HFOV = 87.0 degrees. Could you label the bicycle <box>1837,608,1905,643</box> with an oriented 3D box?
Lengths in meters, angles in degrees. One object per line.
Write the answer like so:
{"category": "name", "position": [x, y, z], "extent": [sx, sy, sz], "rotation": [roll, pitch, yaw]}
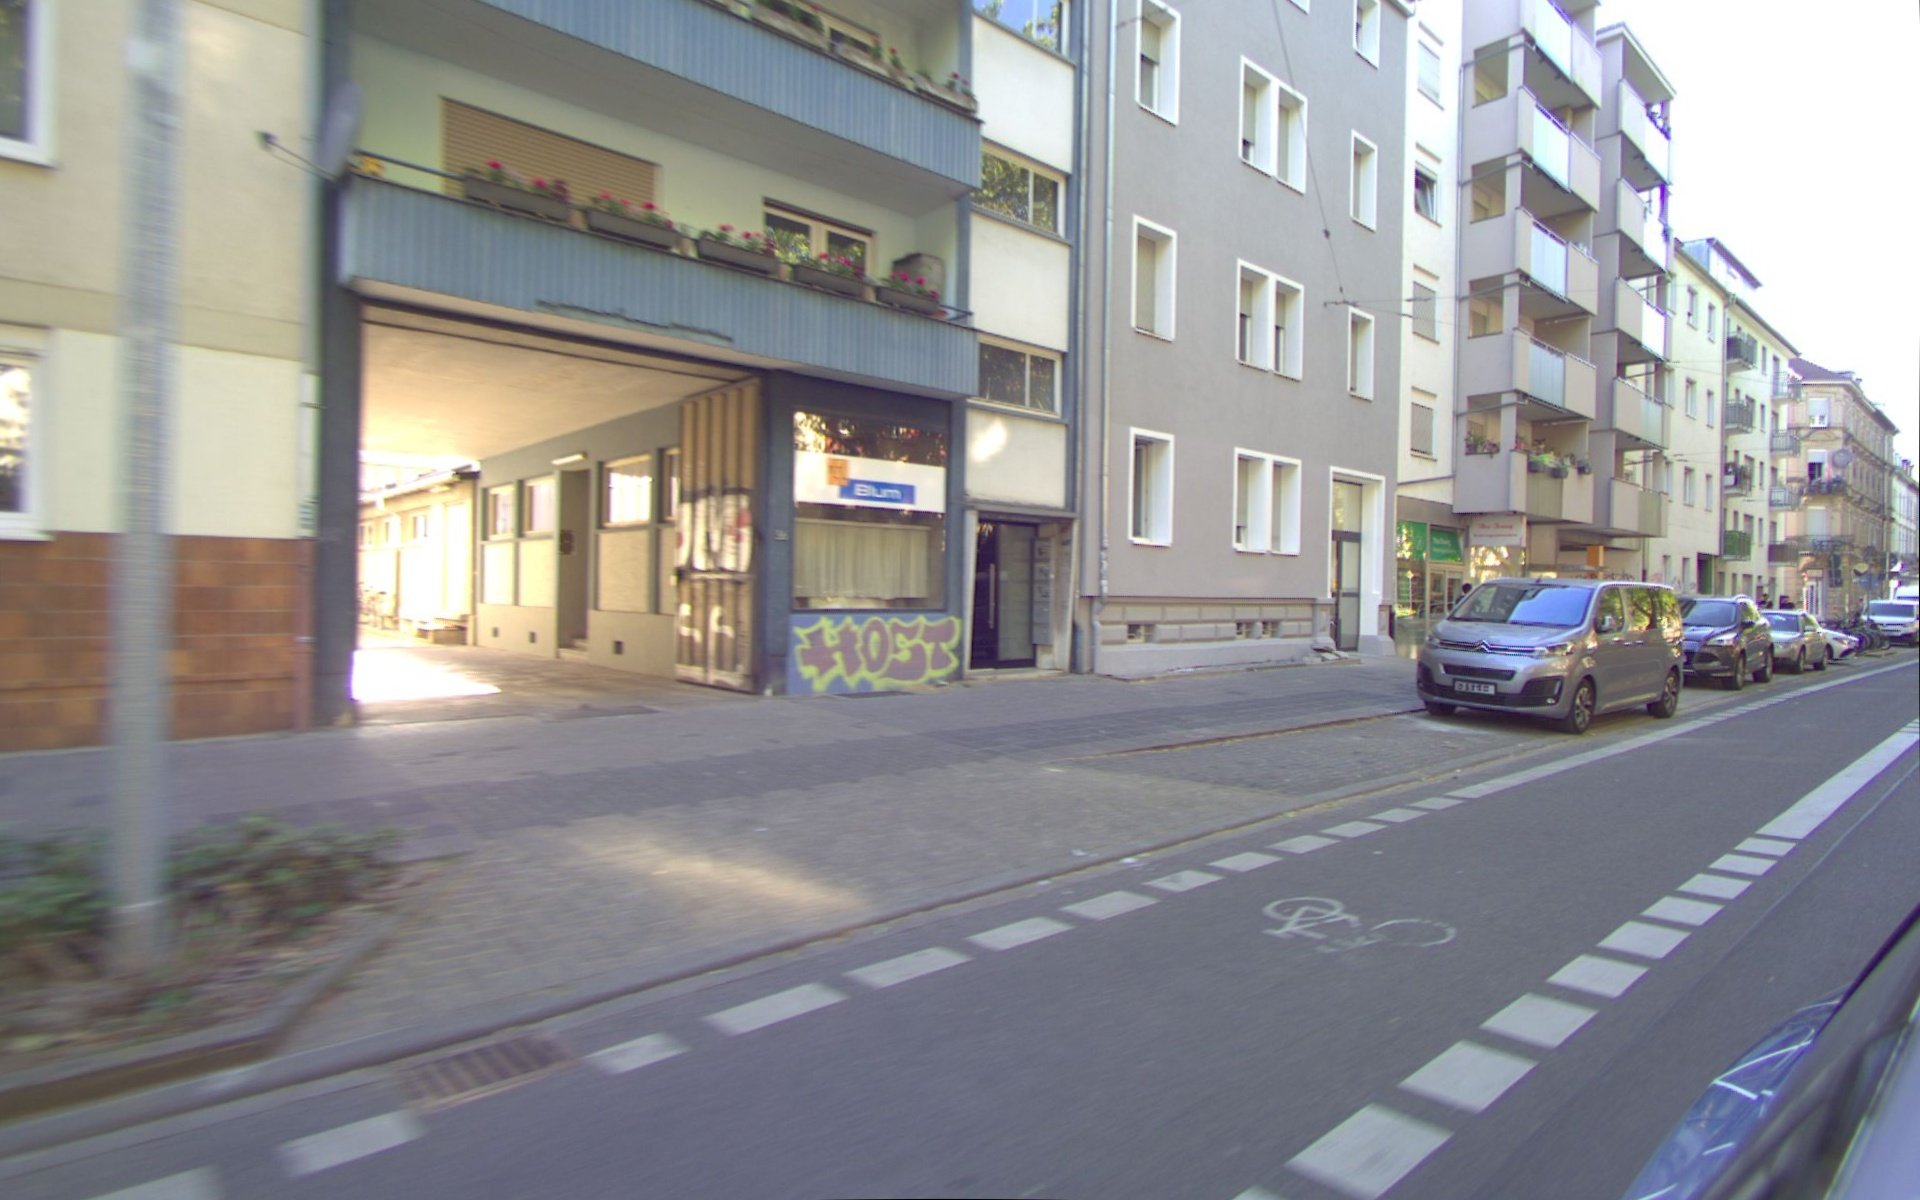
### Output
{"category": "bicycle", "position": [31.221, 0.855, 34.696], "extent": [0.449, 1.068, 1.656], "rotation": [0, 3, -41]}

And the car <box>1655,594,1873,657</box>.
{"category": "car", "position": [22.262, 0.648, 28.250], "extent": [4.606, 1.455, 1.839], "rotation": [3, 2, 39]}

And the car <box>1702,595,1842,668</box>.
{"category": "car", "position": [19.152, 0.676, 23.813], "extent": [4.432, 1.544, 1.728], "rotation": [0, 1, -40]}

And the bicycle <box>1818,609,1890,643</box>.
{"category": "bicycle", "position": [28.958, 0.838, 32.800], "extent": [0.449, 0.978, 1.656], "rotation": [0, 3, -41]}

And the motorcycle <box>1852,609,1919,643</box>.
{"category": "motorcycle", "position": [32.084, 0.884, 34.958], "extent": [0.604, 1.093, 1.829], "rotation": [1, 2, -18]}

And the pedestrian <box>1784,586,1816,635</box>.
{"category": "pedestrian", "position": [32.810, 0.407, 39.526], "extent": [1.062, 1.845, 0.711], "rotation": [0, 2, -39]}

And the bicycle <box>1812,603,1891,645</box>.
{"category": "bicycle", "position": [28.585, 0.753, 32.479], "extent": [0.449, 1.206, 1.827], "rotation": [0, 3, -41]}

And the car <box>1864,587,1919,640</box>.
{"category": "car", "position": [37.460, 0.507, 40.122], "extent": [4.277, 1.841, 1.862], "rotation": [-1, 5, -42]}

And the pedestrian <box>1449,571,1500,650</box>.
{"category": "pedestrian", "position": [11.597, 0.227, 22.832], "extent": [0.706, 1.742, 0.758], "rotation": [1, 0, -35]}

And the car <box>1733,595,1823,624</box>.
{"category": "car", "position": [46.212, 0.524, 57.214], "extent": [1.758, 1.594, 3.658], "rotation": [-1, 0, -39]}

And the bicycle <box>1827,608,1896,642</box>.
{"category": "bicycle", "position": [30.227, 0.821, 33.960], "extent": [0.449, 0.999, 1.656], "rotation": [0, 3, -41]}

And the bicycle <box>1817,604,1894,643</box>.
{"category": "bicycle", "position": [29.706, 0.770, 33.592], "extent": [0.692, 1.162, 1.797], "rotation": [0, 3, -41]}

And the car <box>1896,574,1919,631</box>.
{"category": "car", "position": [45.042, 0.111, 46.730], "extent": [5.984, 2.527, 2.152], "rotation": [0, 1, -42]}

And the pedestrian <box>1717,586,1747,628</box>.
{"category": "pedestrian", "position": [31.245, 0.280, 40.950], "extent": [0.916, 1.598, 0.634], "rotation": [-1, 6, -39]}

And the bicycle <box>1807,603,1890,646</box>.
{"category": "bicycle", "position": [28.232, 0.758, 32.168], "extent": [0.449, 1.206, 1.896], "rotation": [0, 3, -41]}

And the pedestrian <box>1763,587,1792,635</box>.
{"category": "pedestrian", "position": [32.376, 0.415, 40.079], "extent": [1.062, 1.845, 0.626], "rotation": [0, 2, -40]}

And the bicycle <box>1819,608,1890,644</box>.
{"category": "bicycle", "position": [29.282, 0.832, 33.145], "extent": [0.449, 1.033, 1.656], "rotation": [0, 3, -41]}

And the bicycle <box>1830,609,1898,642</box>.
{"category": "bicycle", "position": [30.769, 0.851, 34.461], "extent": [0.449, 0.999, 1.656], "rotation": [0, 3, -41]}

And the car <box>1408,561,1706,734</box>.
{"category": "car", "position": [8.173, 0.510, 13.660], "extent": [4.836, 1.913, 1.863], "rotation": [0, 2, -39]}

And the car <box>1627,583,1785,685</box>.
{"category": "car", "position": [14.295, 0.560, 19.300], "extent": [4.212, 1.726, 1.768], "rotation": [0, 1, -44]}
